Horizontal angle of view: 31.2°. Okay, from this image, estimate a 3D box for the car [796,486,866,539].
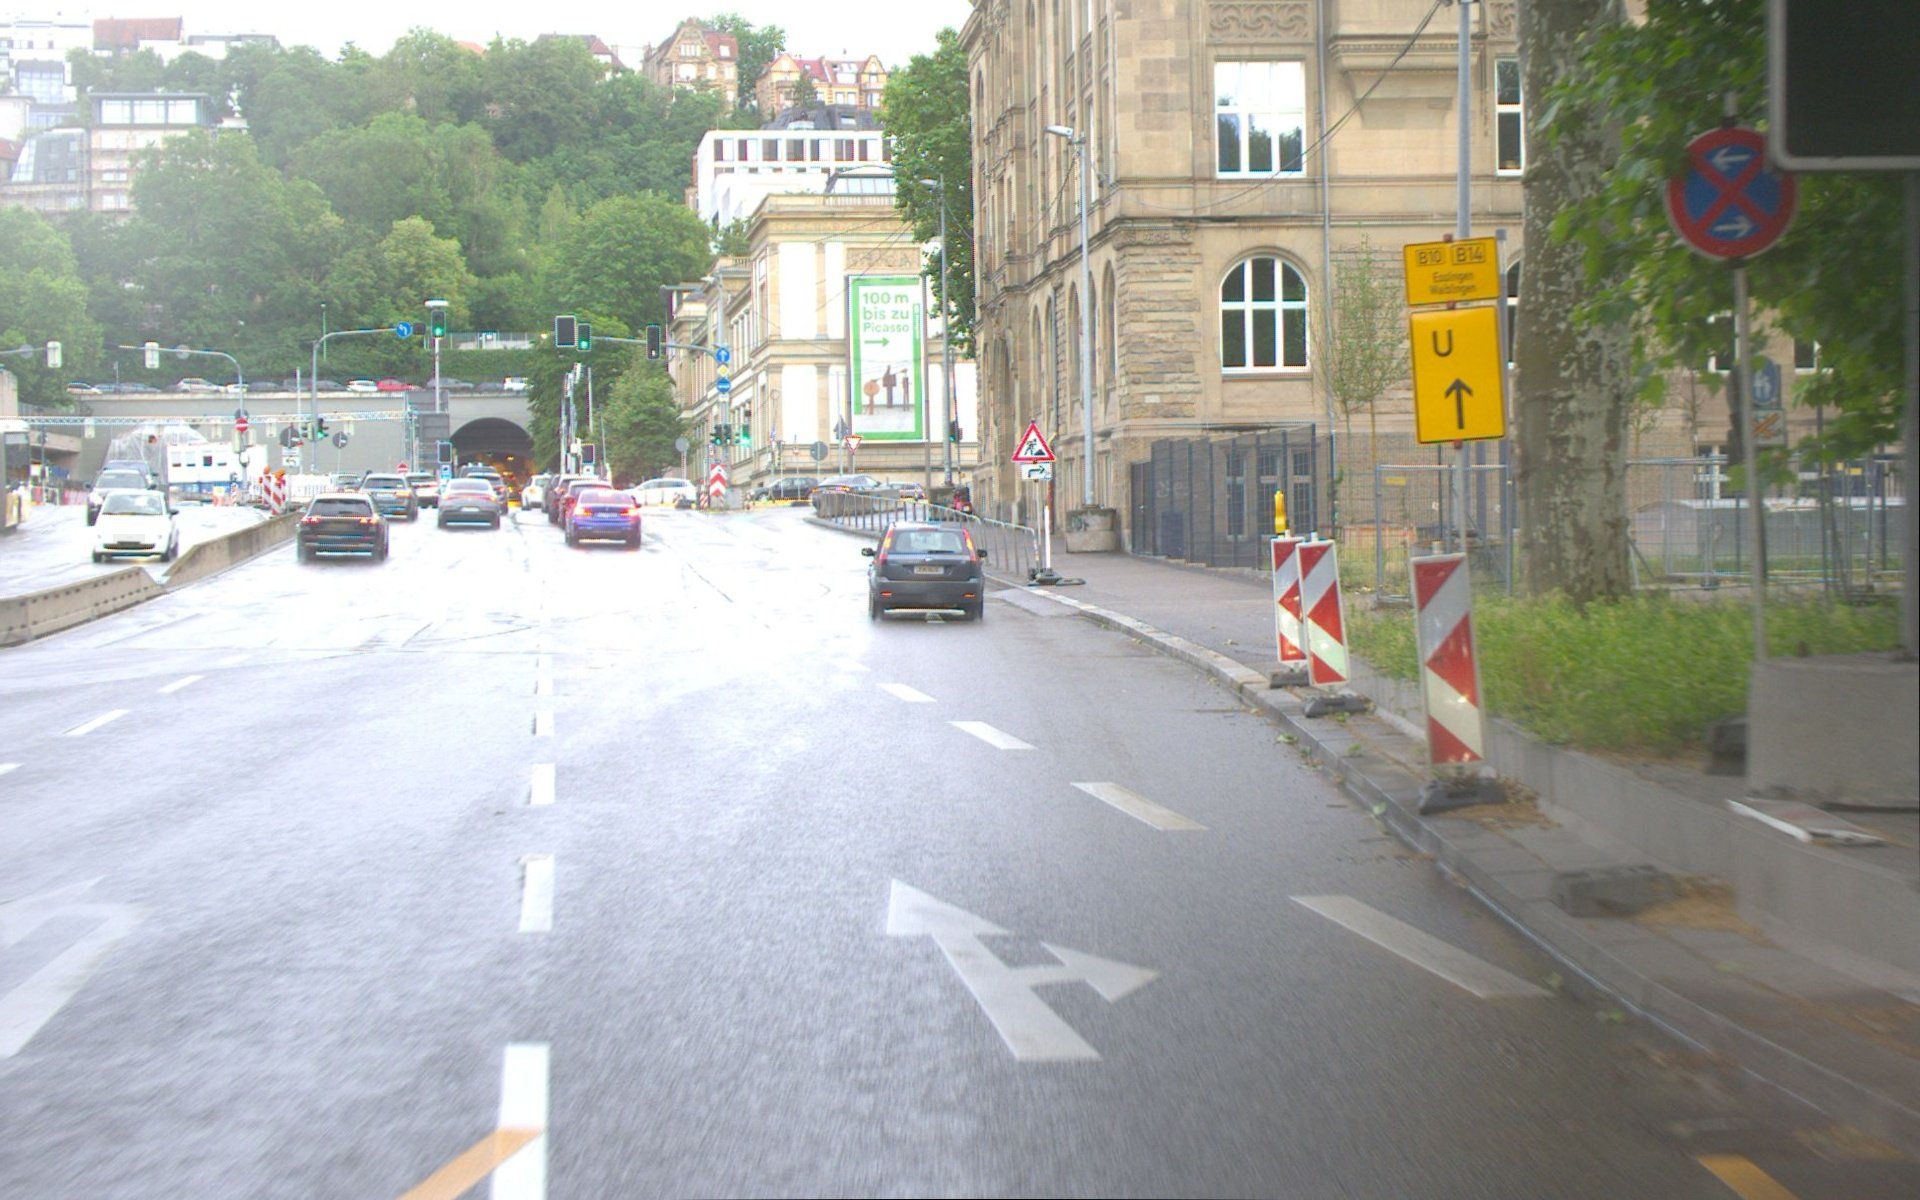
[{"bbox_3d":[-4.997,-3.382,133.559,1.994,2.007,3.999,0,1,9],"label":"car"}]

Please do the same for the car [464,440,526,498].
[{"bbox_3d":[-16.487,-4.625,121.795,1.993,1.863,4.001,-2,0,-9],"label":"car"}]

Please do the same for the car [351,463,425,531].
[{"bbox_3d":[-18.251,-3.281,109.861,1.993,2.007,4.001,-2,0,-5],"label":"car"}]

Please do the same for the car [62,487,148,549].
[{"bbox_3d":[-25.219,-2.405,101.511,2.038,1.656,4.934,-2,0,-10],"label":"car"}]

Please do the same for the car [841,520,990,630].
[{"bbox_3d":[-0.702,-0.377,51.437,1.812,1.521,4.001,-2,1,-6],"label":"car"}]

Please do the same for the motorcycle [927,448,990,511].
[{"bbox_3d":[-0.062,-3.957,112.654,1.795,2.006,3.814,-1,3,-4],"label":"motorcycle"}]

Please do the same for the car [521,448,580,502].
[{"bbox_3d":[-16.314,-4.951,136.964,1.993,2.007,4.001,-2,1,-11],"label":"car"}]

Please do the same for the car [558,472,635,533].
[{"bbox_3d":[-11.023,-2.927,104.057,1.993,1.693,4.001,-2,0,-10],"label":"car"}]

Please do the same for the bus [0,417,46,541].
[{"bbox_3d":[-26.313,-3.127,91.401,2.702,3.140,9.153,-1,1,-8],"label":"bus"}]

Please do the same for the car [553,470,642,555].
[{"bbox_3d":[-9.310,-2.226,88.121,2.104,2.043,4.001,-2,0,-8],"label":"car"}]

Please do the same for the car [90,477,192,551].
[{"bbox_3d":[-17.664,-1.841,74.251,1.709,1.484,3.451,-2,0,-6],"label":"car"}]

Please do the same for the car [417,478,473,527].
[{"bbox_3d":[-22.906,-4.322,152.730,2.292,2.007,4.605,-2,0,-10],"label":"car"}]

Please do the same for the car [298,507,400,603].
[{"bbox_3d":[-13.470,-0.977,75.961,2.016,2.007,4.001,-2,0,-8],"label":"car"}]

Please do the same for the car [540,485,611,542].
[{"bbox_3d":[-12.418,-2.775,110.961,1.993,1.693,4.001,-2,0,-10],"label":"car"}]

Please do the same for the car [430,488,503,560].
[{"bbox_3d":[-14.785,-2.261,102.903,2.051,2.007,4.001,-2,0,-9],"label":"car"}]
